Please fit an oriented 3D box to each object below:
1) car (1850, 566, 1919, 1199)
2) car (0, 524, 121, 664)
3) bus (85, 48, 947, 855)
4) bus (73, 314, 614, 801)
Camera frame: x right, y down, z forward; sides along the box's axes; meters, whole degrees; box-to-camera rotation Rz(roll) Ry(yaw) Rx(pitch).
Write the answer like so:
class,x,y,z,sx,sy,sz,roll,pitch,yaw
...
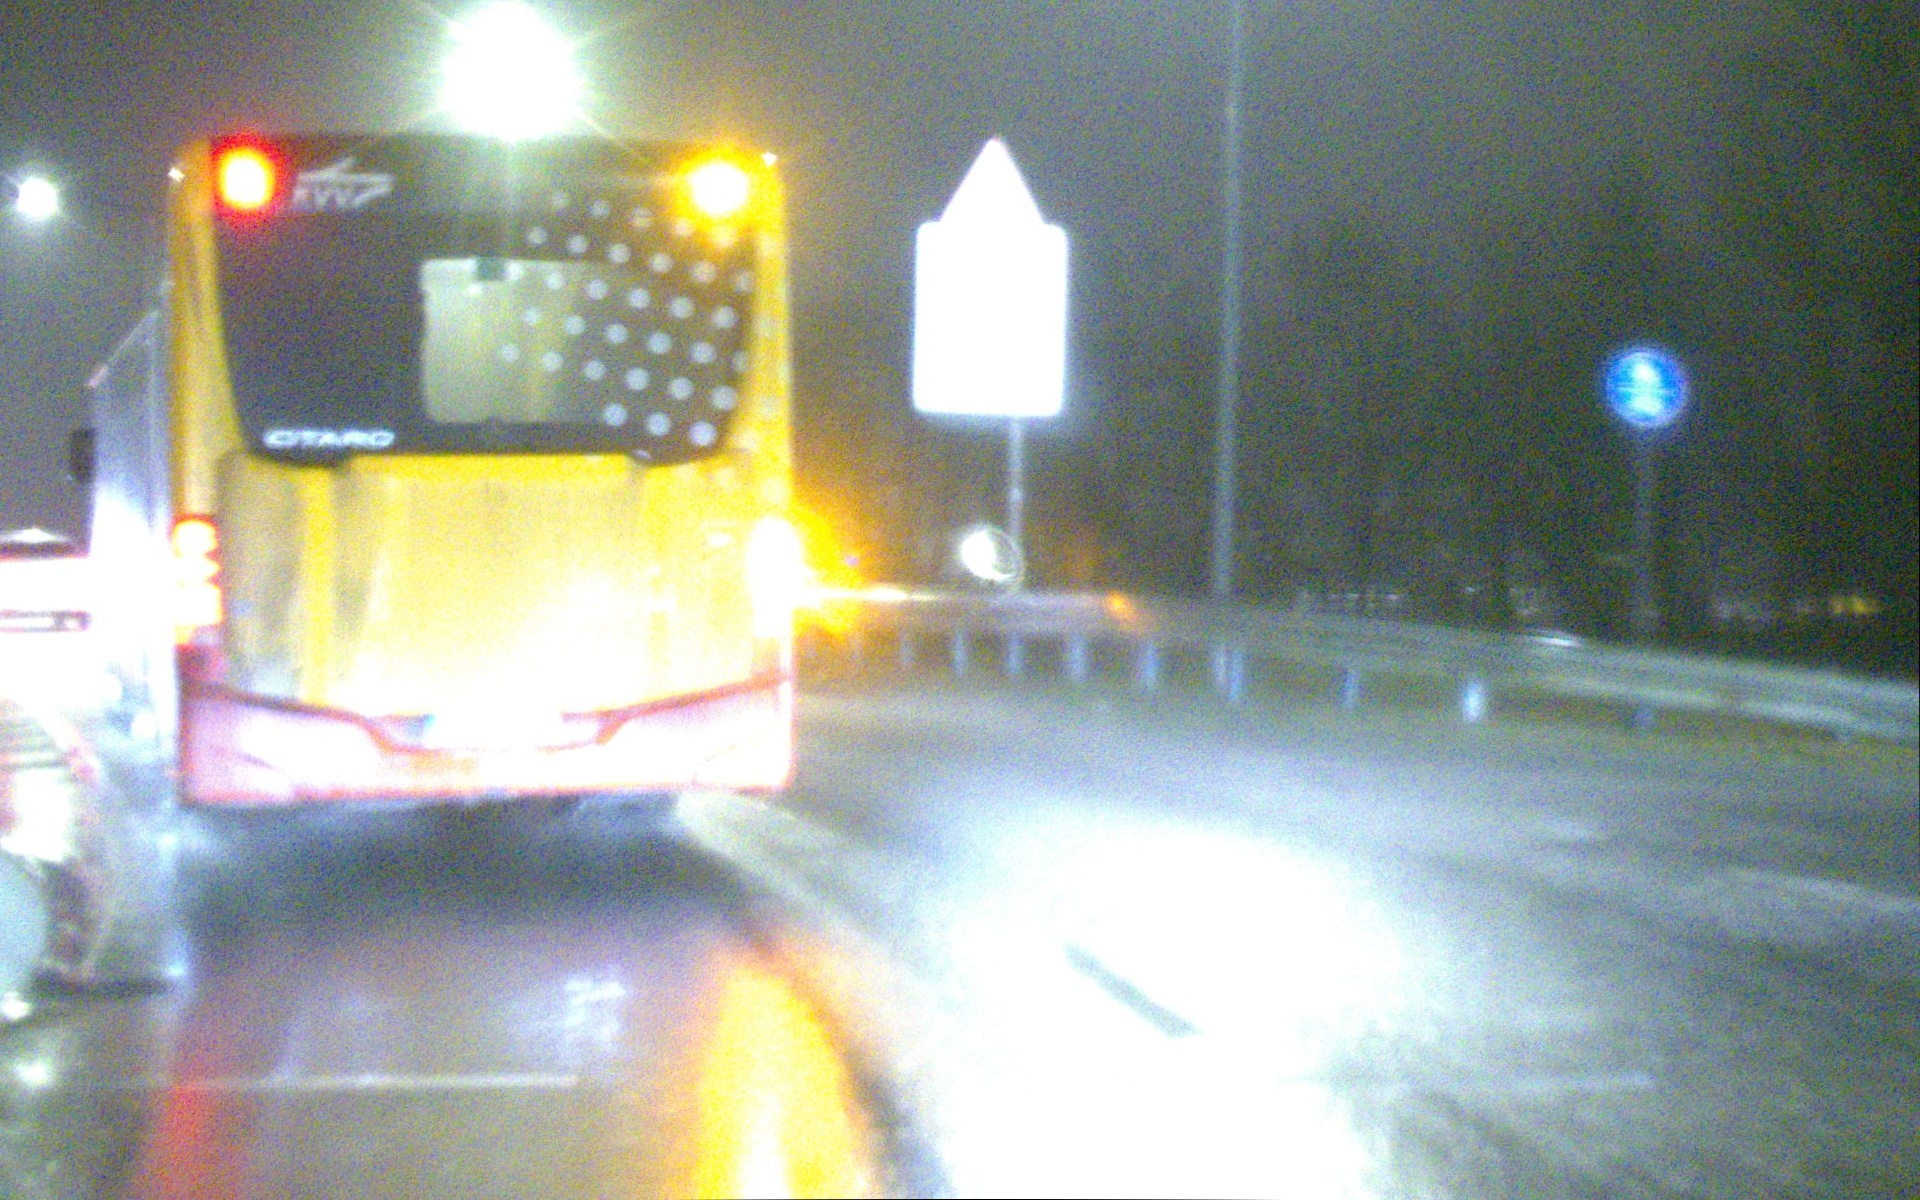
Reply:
class,x,y,z,sx,sy,sz,roll,pitch,yaw
car,2.641,0.714,4.310,1.676,1.516,3.961,2,0,-6
car,-14.274,-0.090,52.372,1.993,2.007,4.349,2,0,-25
bus,-2.792,-0.858,17.963,3.284,3.039,9.548,1,4,-13
bus,-5.103,-0.397,26.793,3.246,3.110,8.648,2,2,-16
